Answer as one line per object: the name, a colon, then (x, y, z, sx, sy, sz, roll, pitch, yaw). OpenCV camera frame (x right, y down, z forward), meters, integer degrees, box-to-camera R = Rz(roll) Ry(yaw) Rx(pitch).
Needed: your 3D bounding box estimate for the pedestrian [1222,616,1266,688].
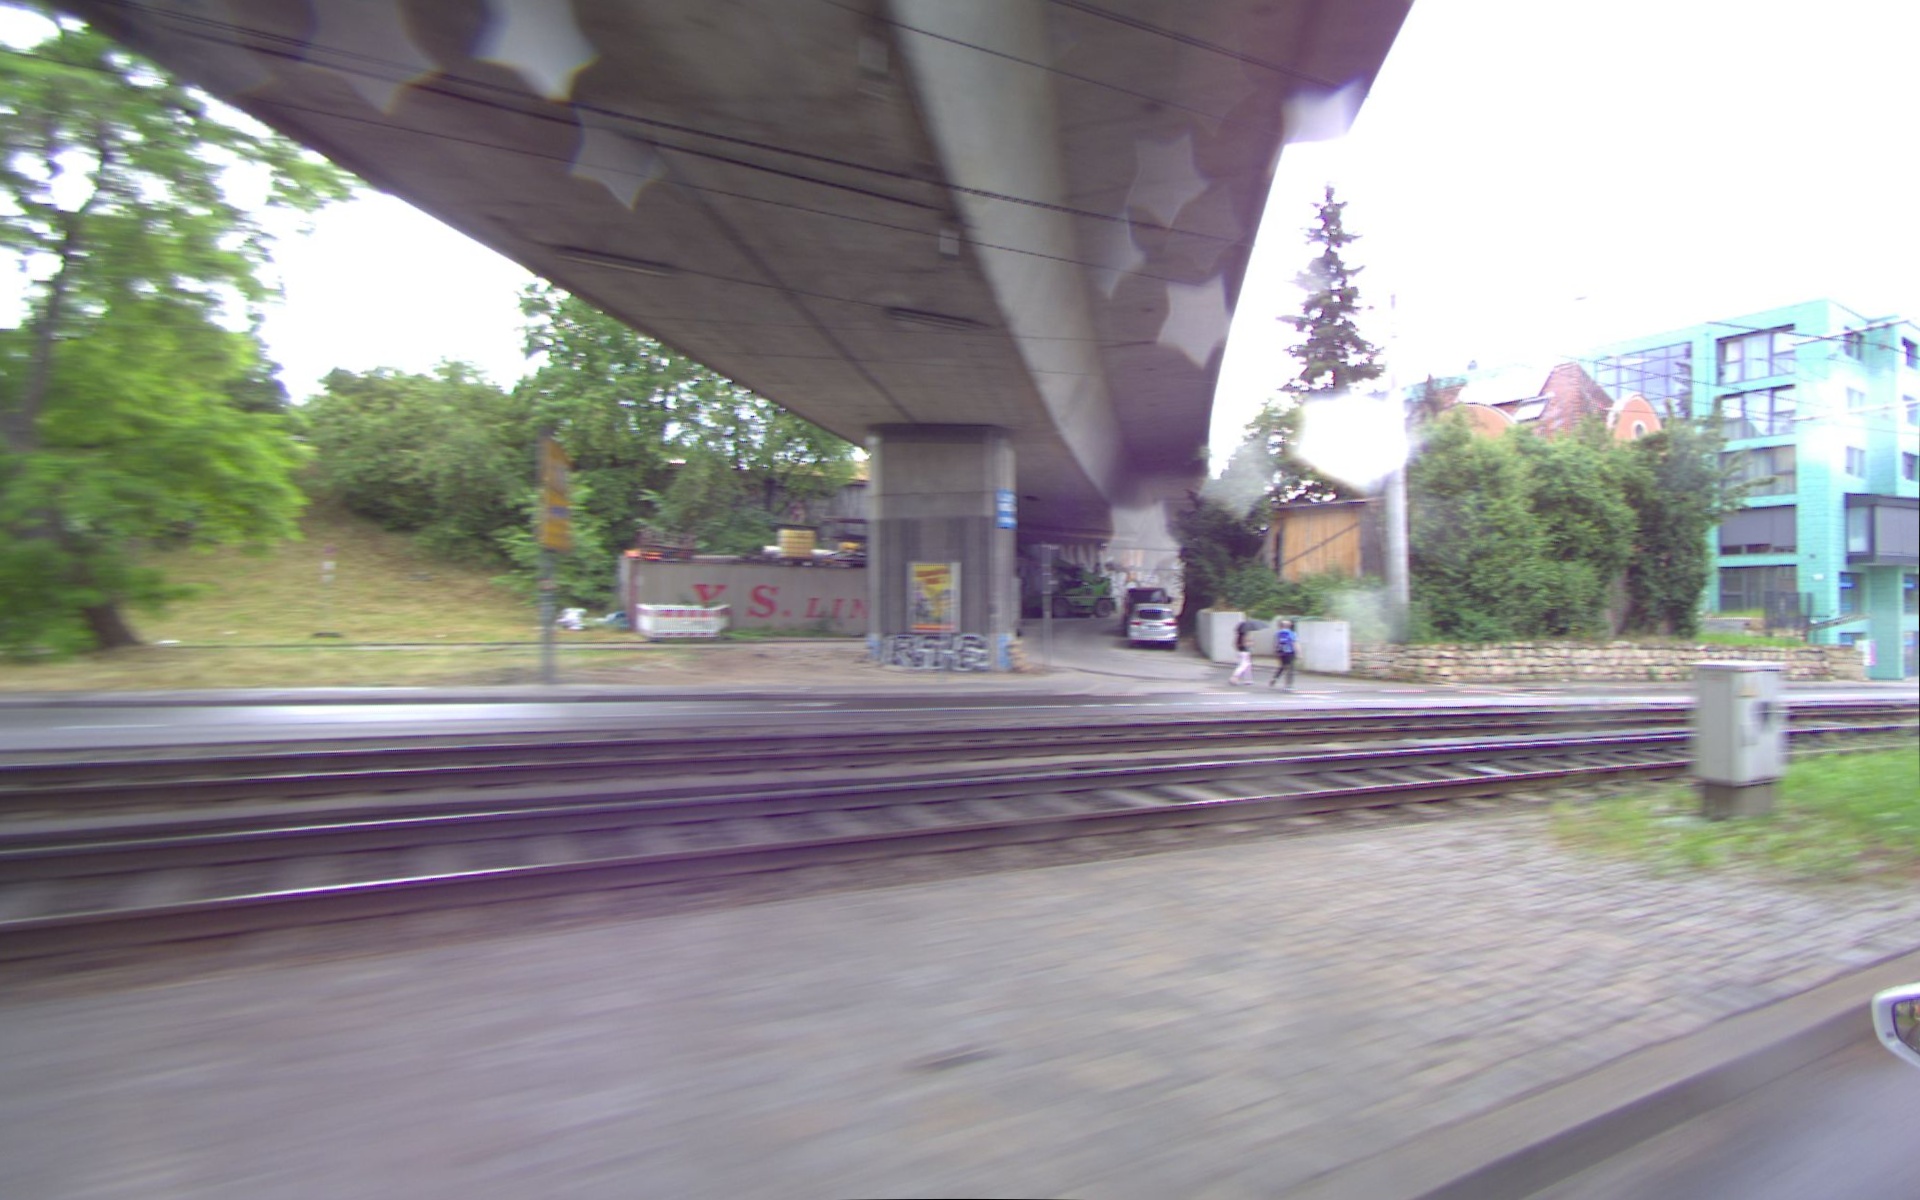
pedestrian: (7.543, 1.359, 26.681, 0.855, 1.855, 0.691, 1, 0, -25)

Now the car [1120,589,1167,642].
car: (7.894, 0.603, 43.014, 1.761, 2.067, 3.199, 2, 2, 13)

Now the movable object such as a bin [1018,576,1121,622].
movable object such as a bin: (6.321, -0.028, 58.055, 5.392, 2.486, 2.617, 1, 0, -27)

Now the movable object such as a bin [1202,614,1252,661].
movable object such as a bin: (9.311, 1.286, 35.108, 1.530, 1.499, 1.803, 1, 1, 10)

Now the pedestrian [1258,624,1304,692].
pedestrian: (8.223, 1.471, 25.717, 0.875, 1.692, 0.692, 1, 0, -22)

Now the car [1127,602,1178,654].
car: (7.239, 0.999, 37.667, 1.685, 1.690, 3.199, 2, 2, 13)

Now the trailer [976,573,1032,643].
trailer: (1.917, 0.330, 42.531, 1.959, 2.761, 4.126, 1, 0, 8)

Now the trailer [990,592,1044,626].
trailer: (2.837, 0.460, 50.877, 1.963, 1.617, 3.995, 1, 0, -8)
